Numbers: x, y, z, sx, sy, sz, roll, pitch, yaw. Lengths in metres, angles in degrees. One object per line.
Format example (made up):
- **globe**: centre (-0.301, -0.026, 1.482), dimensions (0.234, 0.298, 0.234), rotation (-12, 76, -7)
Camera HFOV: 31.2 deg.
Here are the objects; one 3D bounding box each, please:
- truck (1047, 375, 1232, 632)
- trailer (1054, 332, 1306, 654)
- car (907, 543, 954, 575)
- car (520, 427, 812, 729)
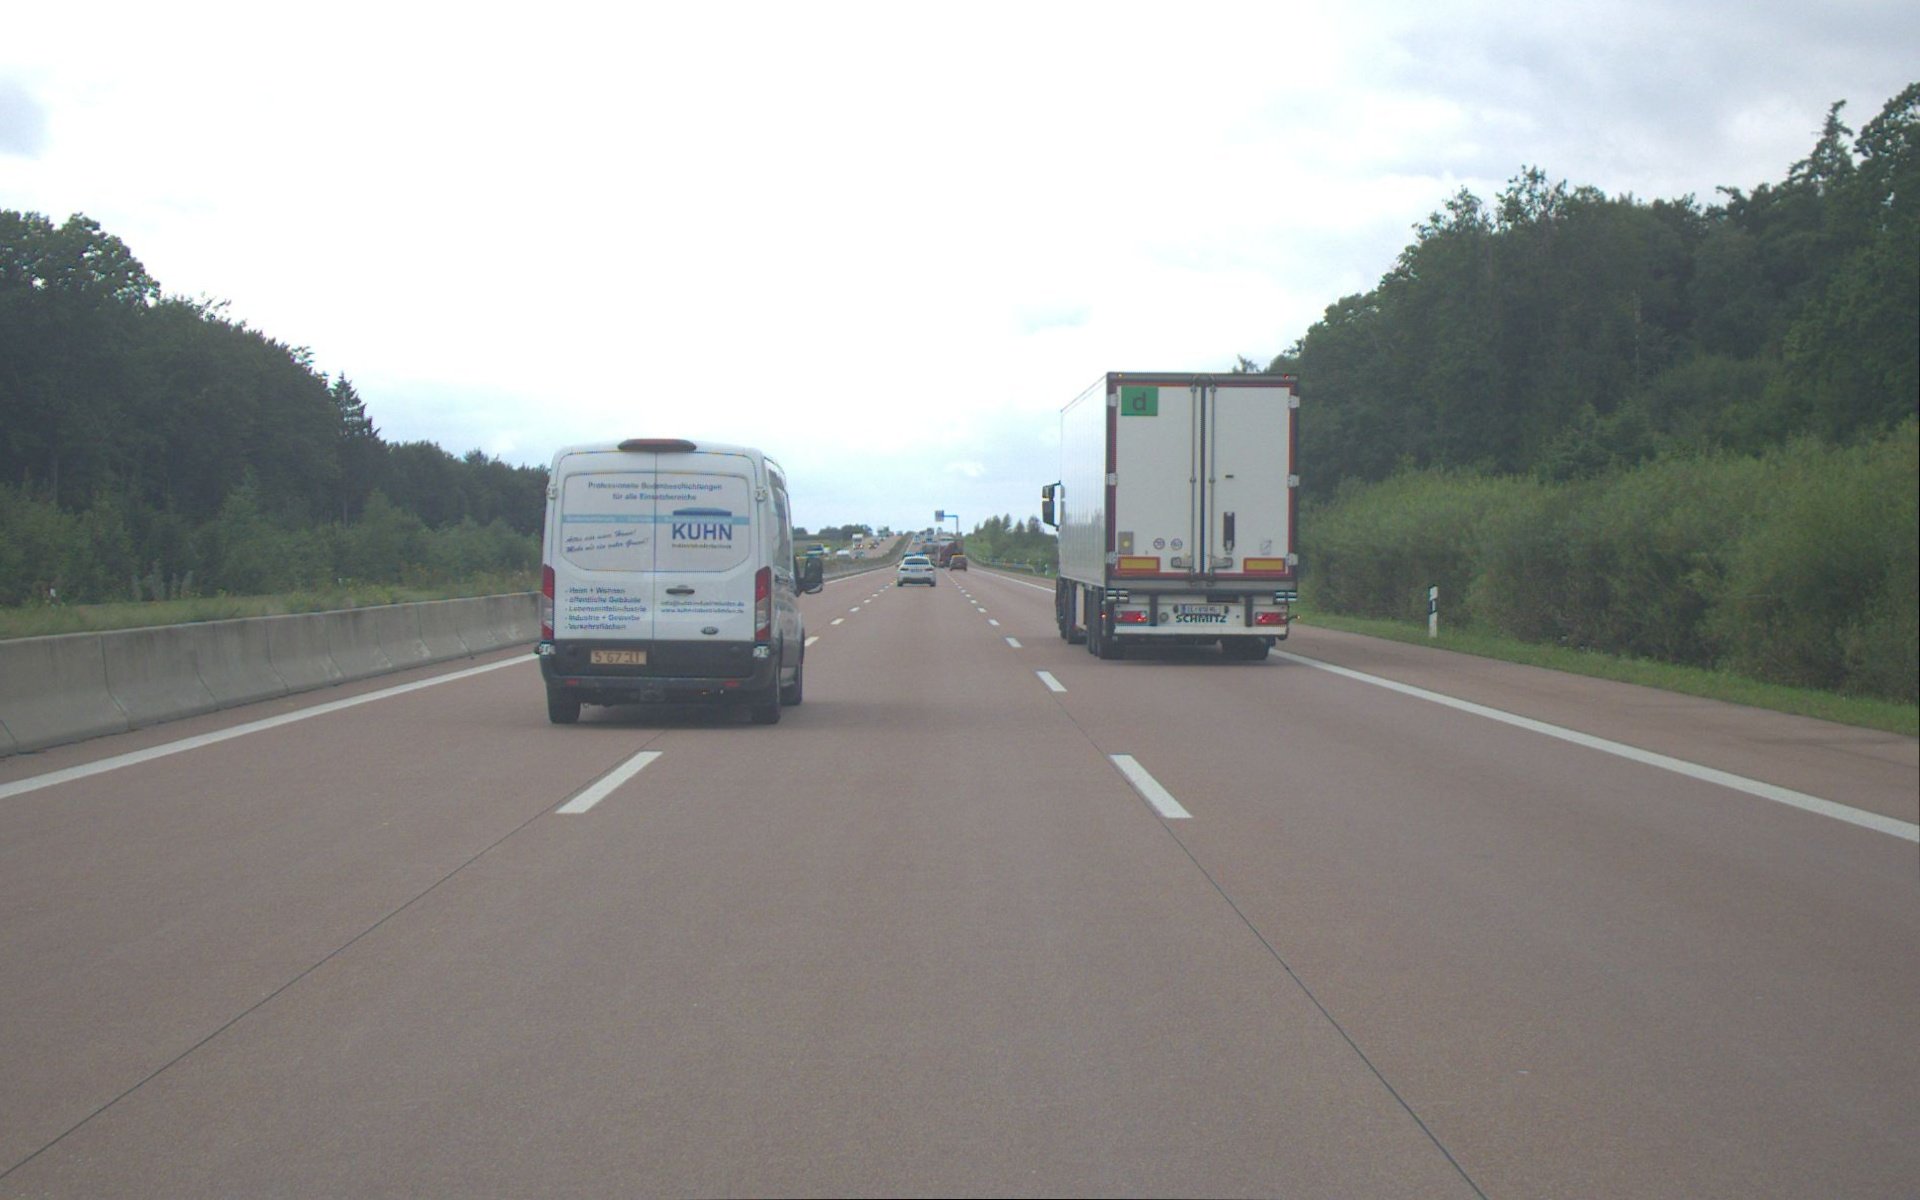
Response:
- **truck**: centre (3.066, -1.647, 60.107), dimensions (2.921, 4.279, 5.335), rotation (0, 1, 0)
- **trailer**: centre (3.109, -1.515, 52.583), dimensions (2.921, 4.279, 13.614), rotation (0, 1, 0)
- **car**: centre (-1.439, -2.034, 169.715), dimensions (2.163, 1.446, 4.719), rotation (1, 1, 1)
- **car**: centre (-2.587, -0.265, 32.014), dimensions (2.137, 2.498, 7.132), rotation (0, 1, 0)
